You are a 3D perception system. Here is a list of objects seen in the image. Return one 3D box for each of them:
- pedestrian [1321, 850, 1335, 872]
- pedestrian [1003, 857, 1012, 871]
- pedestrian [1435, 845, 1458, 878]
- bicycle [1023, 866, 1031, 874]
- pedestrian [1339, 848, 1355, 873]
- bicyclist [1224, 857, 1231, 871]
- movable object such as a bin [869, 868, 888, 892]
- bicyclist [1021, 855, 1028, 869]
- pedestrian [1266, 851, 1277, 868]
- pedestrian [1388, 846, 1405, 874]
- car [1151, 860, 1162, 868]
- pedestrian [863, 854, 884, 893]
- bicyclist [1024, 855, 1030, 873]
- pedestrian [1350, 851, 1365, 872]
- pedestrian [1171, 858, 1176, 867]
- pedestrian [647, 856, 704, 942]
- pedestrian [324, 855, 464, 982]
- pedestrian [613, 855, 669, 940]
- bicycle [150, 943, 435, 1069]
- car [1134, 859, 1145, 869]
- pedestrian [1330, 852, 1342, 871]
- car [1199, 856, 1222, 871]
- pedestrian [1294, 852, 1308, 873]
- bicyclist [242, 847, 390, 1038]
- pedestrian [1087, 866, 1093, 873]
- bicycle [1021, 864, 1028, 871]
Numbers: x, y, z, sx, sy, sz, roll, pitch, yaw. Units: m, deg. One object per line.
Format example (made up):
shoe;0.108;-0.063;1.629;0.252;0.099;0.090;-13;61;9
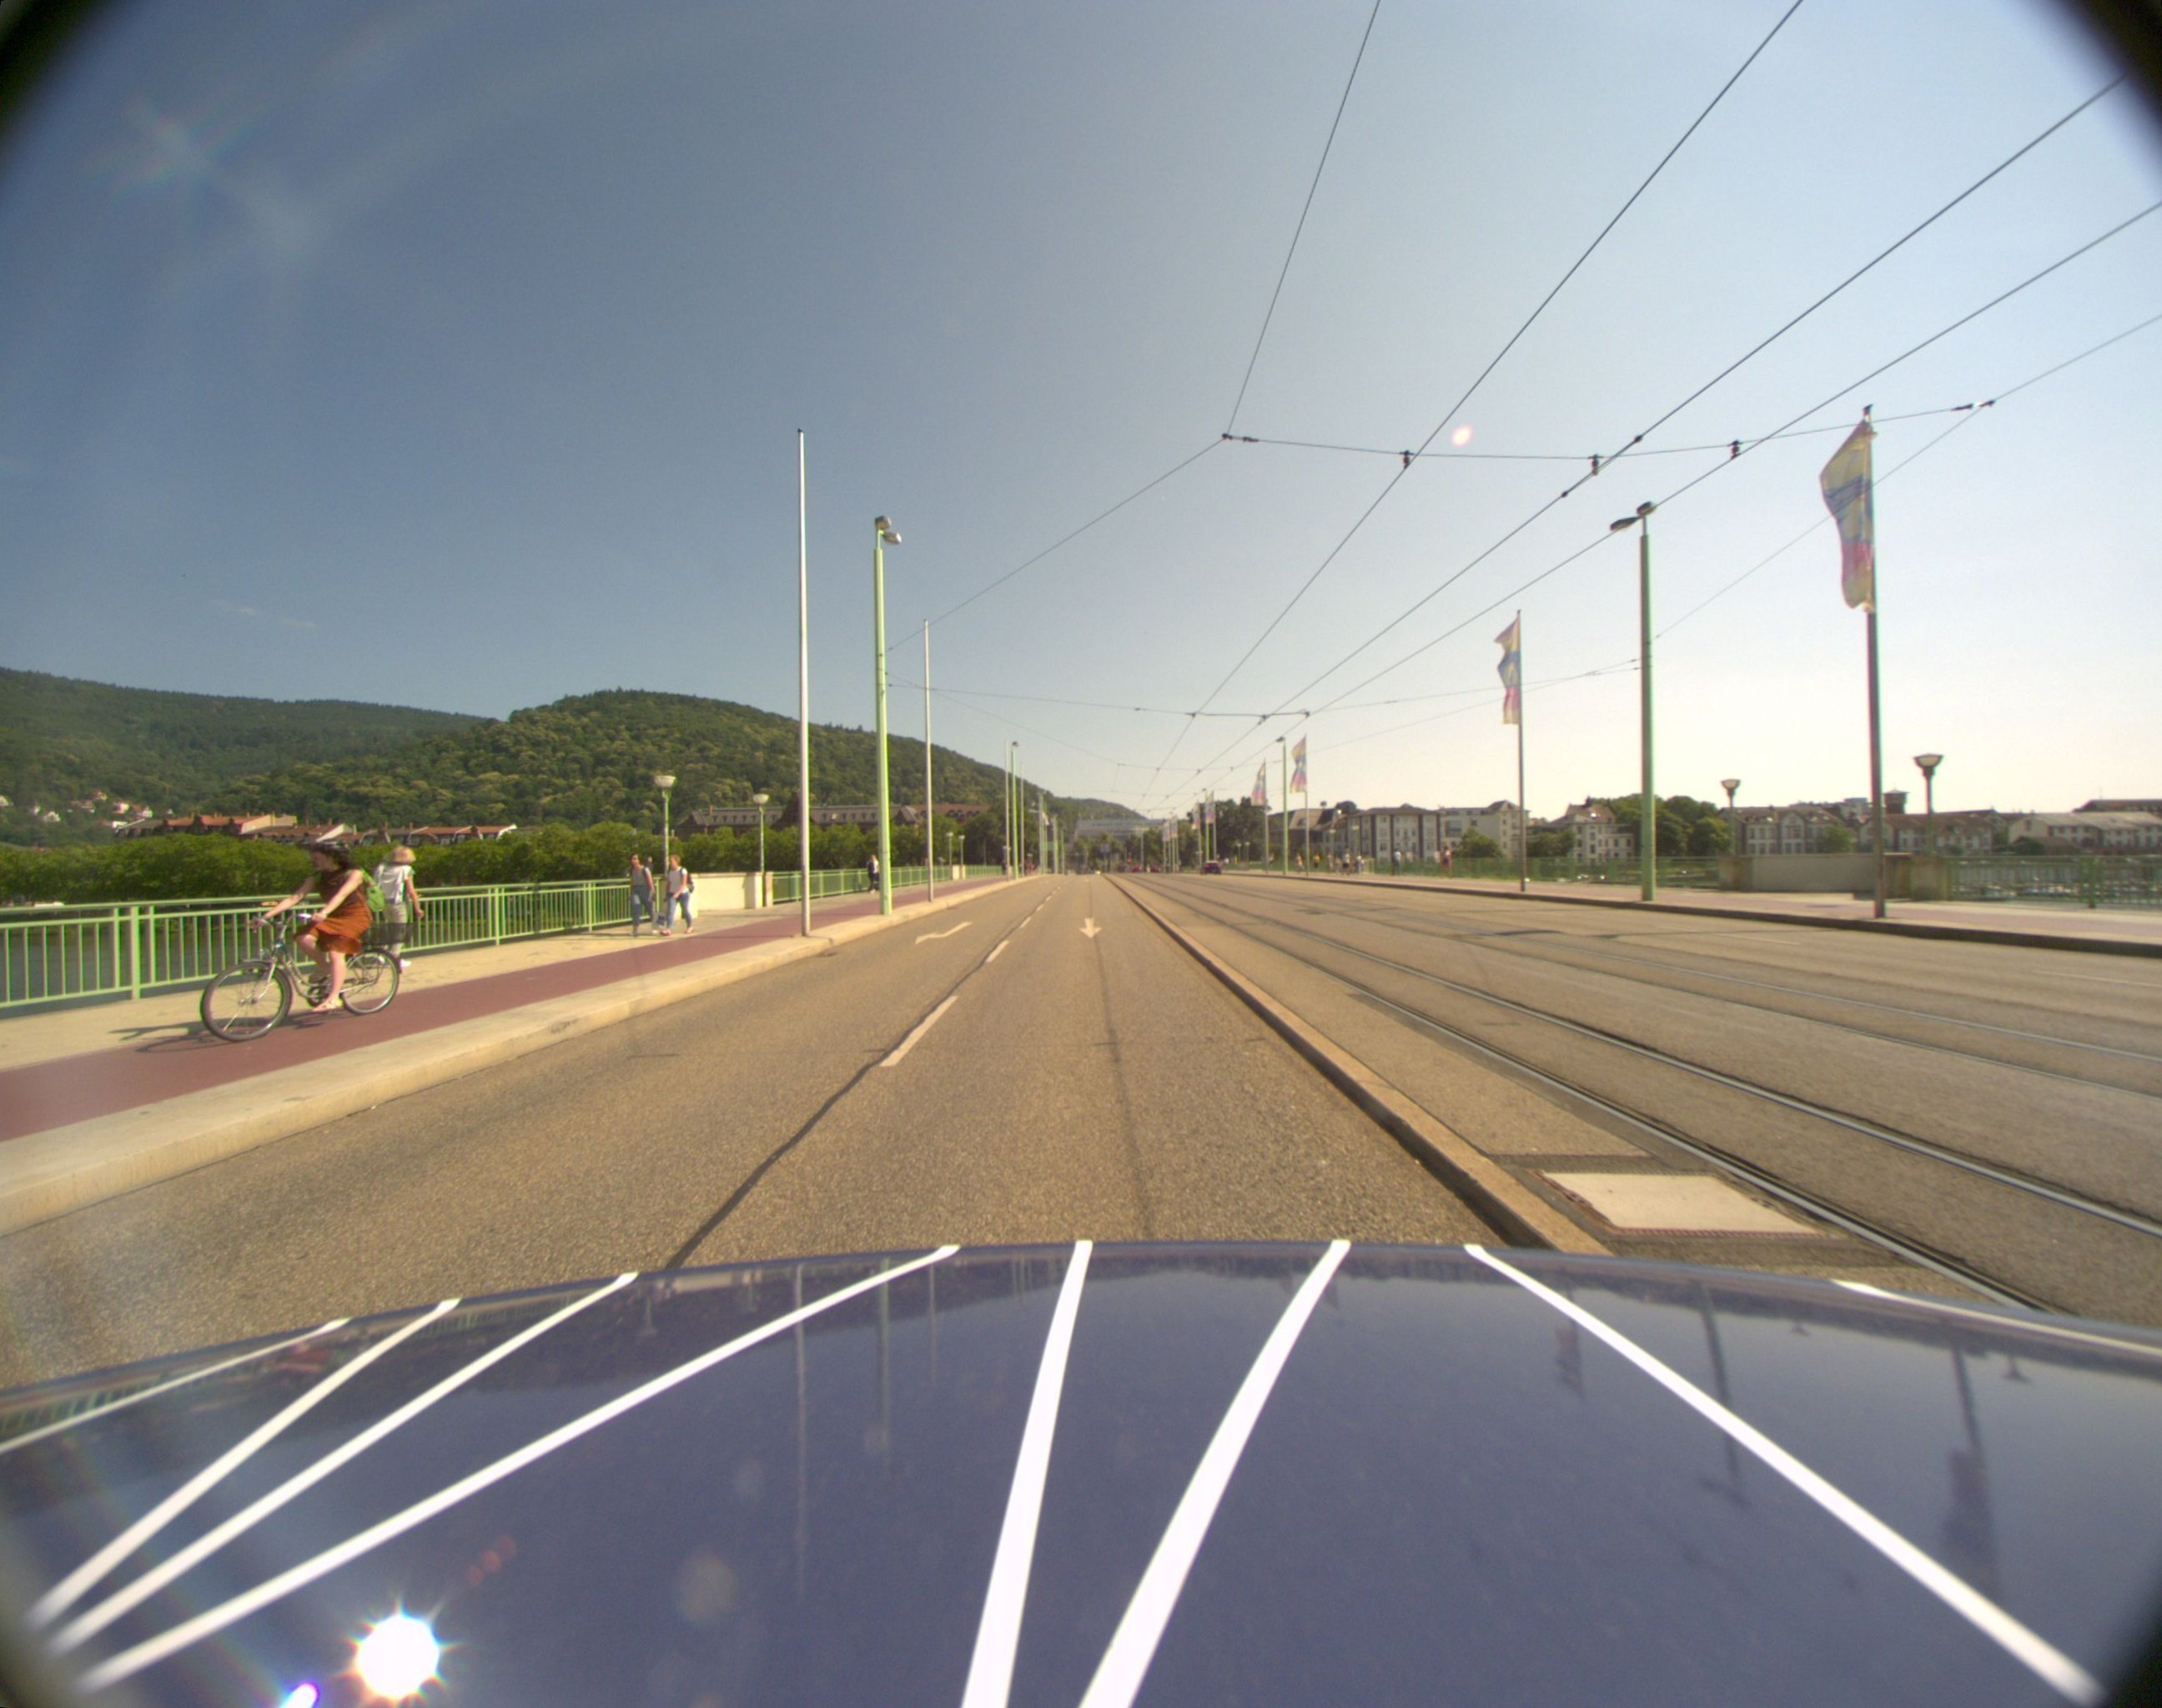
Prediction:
pedestrian;18.759;0.546;57.738;0.627;1.590;1.022;-3;1;0
pedestrian;-8.471;1.154;87.511;0.950;1.653;1.082;1;0;0
pedestrian;19.337;0.383;40.198;0.686;1.681;1.022;-3;1;0
bicycle;-5.380;1.626;75.757;0.595;0.761;1.866;0;0;1
pedestrian;18.248;0.441;52.224;0.671;1.690;1.022;-3;1;0
bicyclist;17.743;1.190;92.203;0.666;1.641;0.622;-1;1;1
movable object such as a bin;-9.111;1.162;34.202;0.583;1.084;0.933;0;0;0
bicyclist;-6.690;0.944;90.120;0.731;1.655;0.844;-2;0;1
pedestrian;19.894;0.601;79.285;0.787;1.690;1.022;-3;1;0
pedestrian;19.810;0.368;47.708;0.592;1.690;1.022;-3;1;0
car;14.154;1.842;142.983;1.672;1.428;4.000;-1;1;1
pedestrian;-9.109;0.836;33.349;0.664;1.696;0.859;0;1;0
bicyclist;-5.393;1.004;75.733;0.587;1.759;0.672;0;1;1
pedestrian;18.853;0.531;51.874;0.592;1.406;1.022;-3;0;0
pedestrian;18.240;1.702;149.453;0.787;1.690;1.022;-3;1;0
pedestrian;-7.991;0.869;15.010;0.664;1.649;0.825;0;1;0
pedestrian;-9.441;0.848;10.495;0.950;1.653;1.082;1;1;0
pedestrian;-8.702;0.845;15.048;0.669;1.649;0.746;0;1;0
bicycle;-6.919;1.290;6.840;0.595;0.761;1.866;0;0;1
car;11.853;2.024;154.184;1.714;1.686;4.000;-5;0;1
pedestrian;19.372;0.573;57.718;0.547;1.429;0.789;-3;1;0
car;13.492;0.985;79.311;1.721;1.446;3.901;0;0;0
pedestrian;18.611;0.715;64.391;0.787;1.690;1.022;-3;1;0
bicyclist;-6.908;0.763;6.897;0.606;1.641;0.702;0;1;1
pedestrian;2.399;4.196;205.501;1.199;2.002;1.037;-2;2;32
bicycle;-6.690;1.615;90.298;0.595;0.761;1.866;0;0;1
